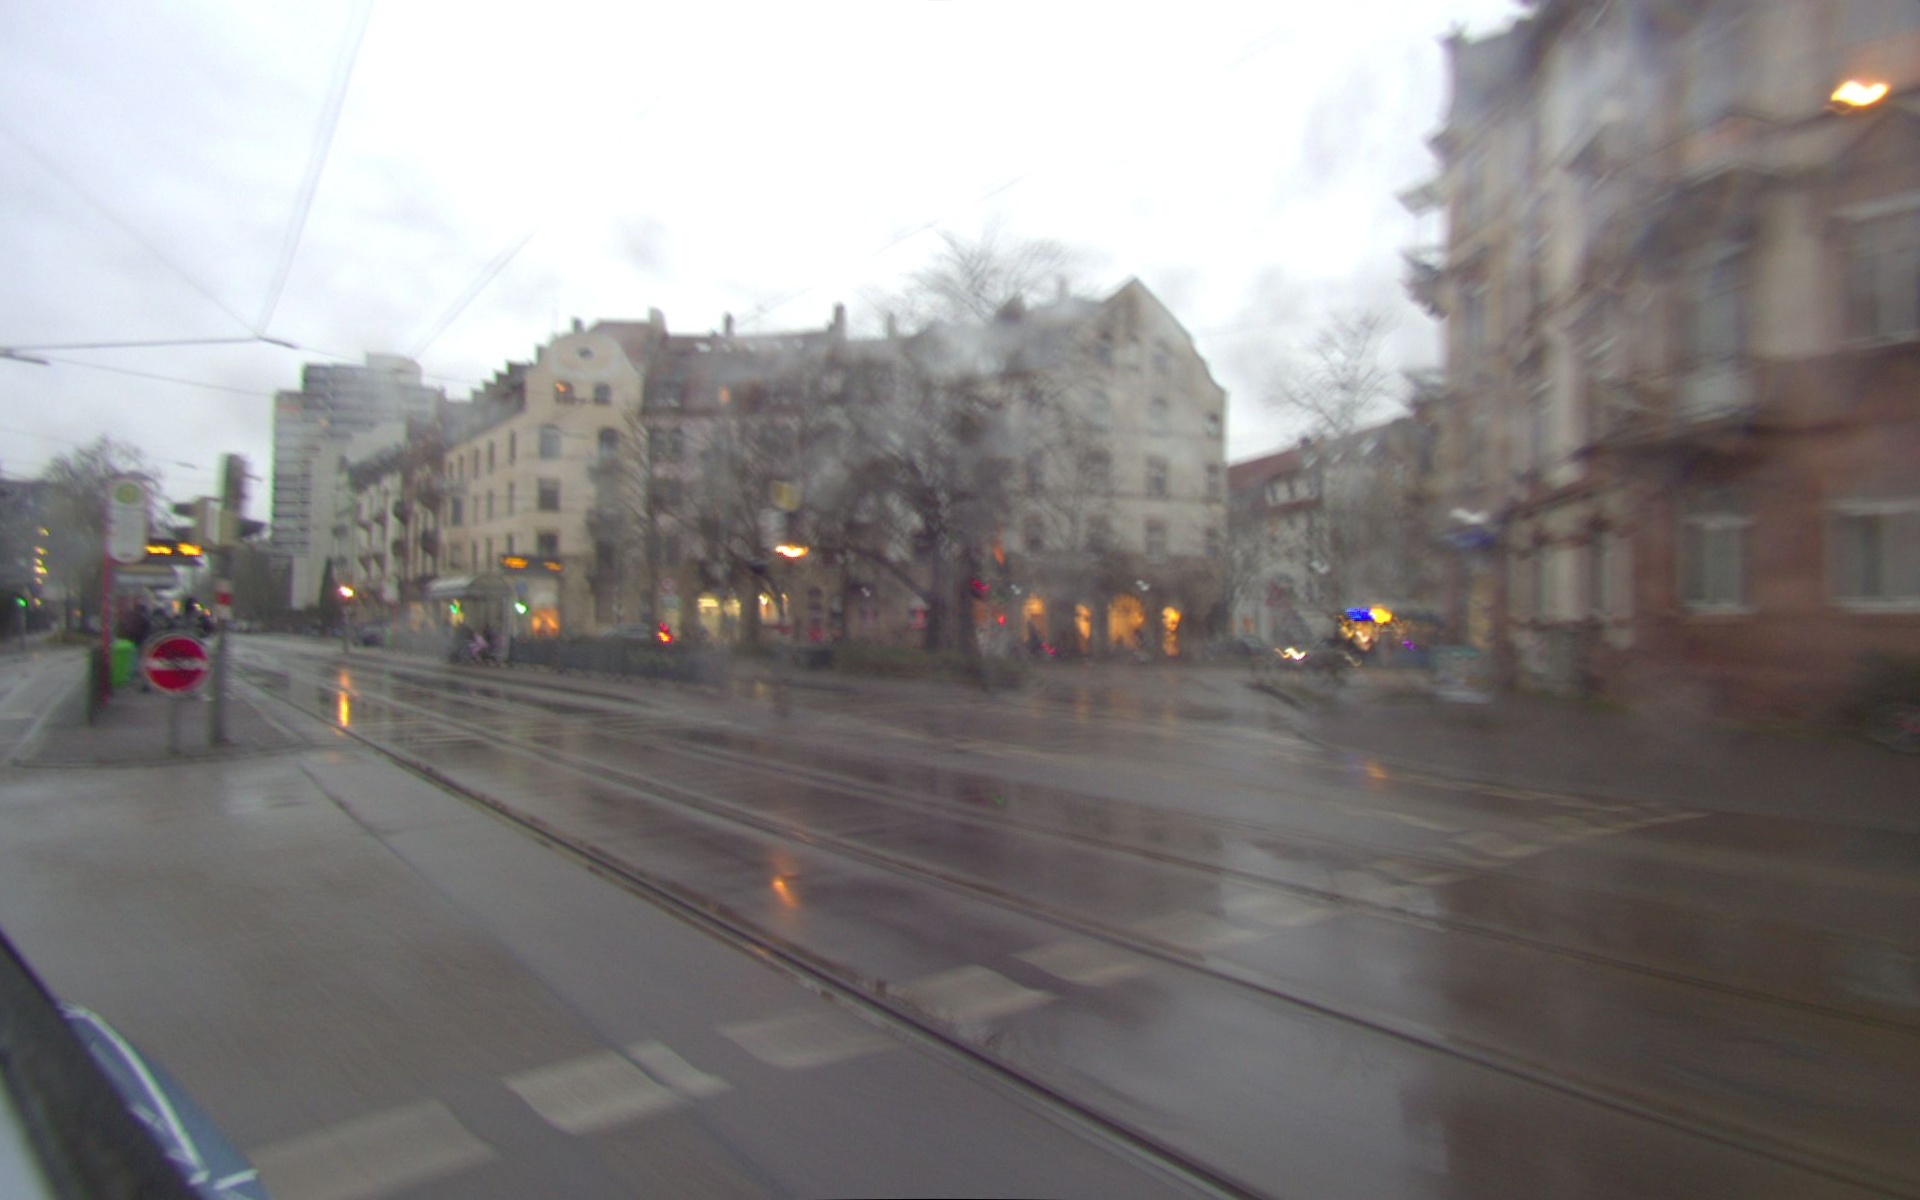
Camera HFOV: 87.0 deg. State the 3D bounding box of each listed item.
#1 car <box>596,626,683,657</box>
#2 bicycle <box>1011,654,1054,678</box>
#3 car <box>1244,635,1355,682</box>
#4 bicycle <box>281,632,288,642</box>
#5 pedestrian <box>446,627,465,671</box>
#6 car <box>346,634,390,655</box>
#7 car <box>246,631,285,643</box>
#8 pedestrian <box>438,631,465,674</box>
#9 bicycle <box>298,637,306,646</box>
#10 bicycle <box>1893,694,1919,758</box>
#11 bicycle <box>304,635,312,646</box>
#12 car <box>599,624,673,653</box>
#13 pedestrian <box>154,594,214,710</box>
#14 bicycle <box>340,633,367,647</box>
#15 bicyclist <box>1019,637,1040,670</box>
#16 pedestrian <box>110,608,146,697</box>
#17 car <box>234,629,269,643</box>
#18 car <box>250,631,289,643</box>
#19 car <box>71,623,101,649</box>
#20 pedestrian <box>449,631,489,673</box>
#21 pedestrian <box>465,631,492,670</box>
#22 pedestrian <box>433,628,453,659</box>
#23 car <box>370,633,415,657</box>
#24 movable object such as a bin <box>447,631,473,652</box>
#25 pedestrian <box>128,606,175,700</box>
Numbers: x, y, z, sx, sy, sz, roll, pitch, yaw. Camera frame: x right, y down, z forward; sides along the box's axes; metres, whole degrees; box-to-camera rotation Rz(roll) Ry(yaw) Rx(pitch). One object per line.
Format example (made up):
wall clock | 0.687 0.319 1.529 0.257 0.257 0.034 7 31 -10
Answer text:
car | -17.004 2.222 53.827 4.271 1.595 1.942 1 -2 -14
bicycle | 3.121 2.847 43.835 1.801 1.014 0.488 0 -2 25
car | 13.696 2.365 40.891 3.798 1.785 1.884 2 -3 -12
bicycle | -72.456 3.969 108.507 0.428 1.014 1.885 2 -3 -38
pedestrian | -16.701 1.609 33.507 0.467 1.414 0.454 -1 0 -40
car | -42.182 3.137 72.097 1.780 1.400 4.513 -1 0 -43
car | -85.057 4.542 123.936 3.781 1.424 1.730 3 -3 -39
pedestrian | -17.048 1.747 33.951 0.675 1.414 0.579 -1 0 -40
bicycle | -63.275 3.979 97.375 0.522 0.896 2.214 2 -3 -35
bicycle | 12.155 1.558 12.004 0.395 0.765 1.812 0 -2 -4
bicycle | -60.293 3.774 93.600 0.522 0.947 2.091 -1 0 -35
car | -18.523 2.217 58.023 3.767 1.483 1.616 -2 0 -6
pedestrian | -13.356 0.871 17.427 0.677 1.932 0.720 -1 0 -28
bicycle | -54.344 3.605 90.723 1.960 1.167 0.532 -1 0 -41
bicyclist | 2.977 2.306 43.616 0.761 1.374 0.526 -1 -1 26
pedestrian | -17.560 1.091 21.364 0.550 1.821 0.572 -1 0 -39
car | -97.369 4.913 139.130 3.782 1.730 1.730 -1 -1 -39
car | -83.214 4.499 121.985 3.781 1.424 1.730 2 -3 -39
car | -68.992 2.847 79.920 1.700 1.960 4.515 -1 0 -41
pedestrian | -15.886 1.671 32.731 1.042 1.264 0.507 -1 0 -40
pedestrian | -15.433 1.609 32.416 0.644 1.227 0.518 -1 0 -40
pedestrian | -32.367 2.729 63.333 0.786 1.892 0.895 -2 0 -4
car | -38.375 3.018 68.401 3.680 1.528 1.653 -2 0 44
movable object such as a bin | -34.903 2.871 70.660 1.332 1.382 1.283 -1 0 -41
pedestrian | -15.312 0.988 19.172 0.649 1.721 0.572 -1 0 -39
